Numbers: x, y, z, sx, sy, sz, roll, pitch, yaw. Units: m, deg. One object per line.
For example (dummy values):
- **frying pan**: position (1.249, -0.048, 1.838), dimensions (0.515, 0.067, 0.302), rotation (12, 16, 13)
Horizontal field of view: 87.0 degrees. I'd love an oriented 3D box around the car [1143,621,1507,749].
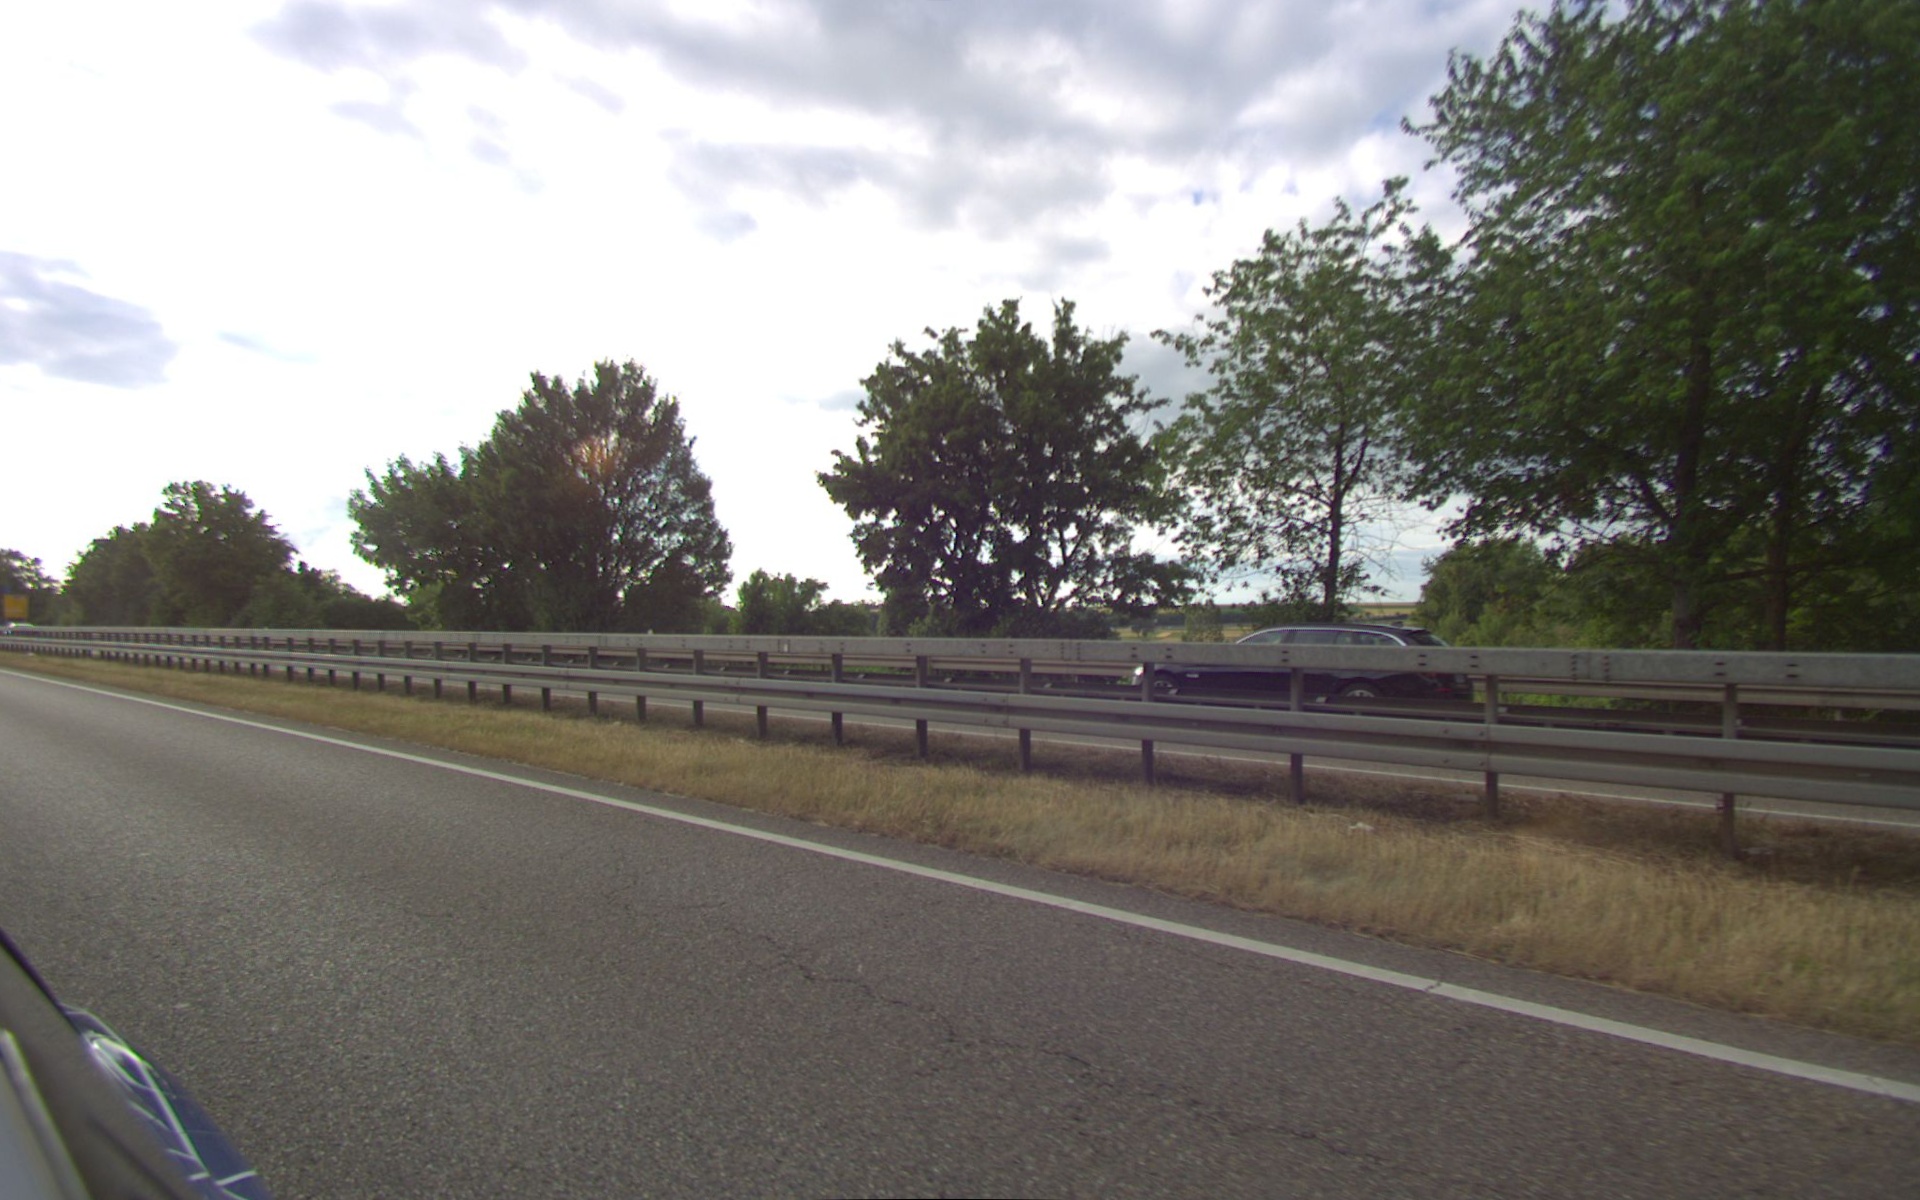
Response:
- **car**: position (5.087, 1.095, 14.529), dimensions (4.585, 1.556, 1.805), rotation (-1, -3, 41)
